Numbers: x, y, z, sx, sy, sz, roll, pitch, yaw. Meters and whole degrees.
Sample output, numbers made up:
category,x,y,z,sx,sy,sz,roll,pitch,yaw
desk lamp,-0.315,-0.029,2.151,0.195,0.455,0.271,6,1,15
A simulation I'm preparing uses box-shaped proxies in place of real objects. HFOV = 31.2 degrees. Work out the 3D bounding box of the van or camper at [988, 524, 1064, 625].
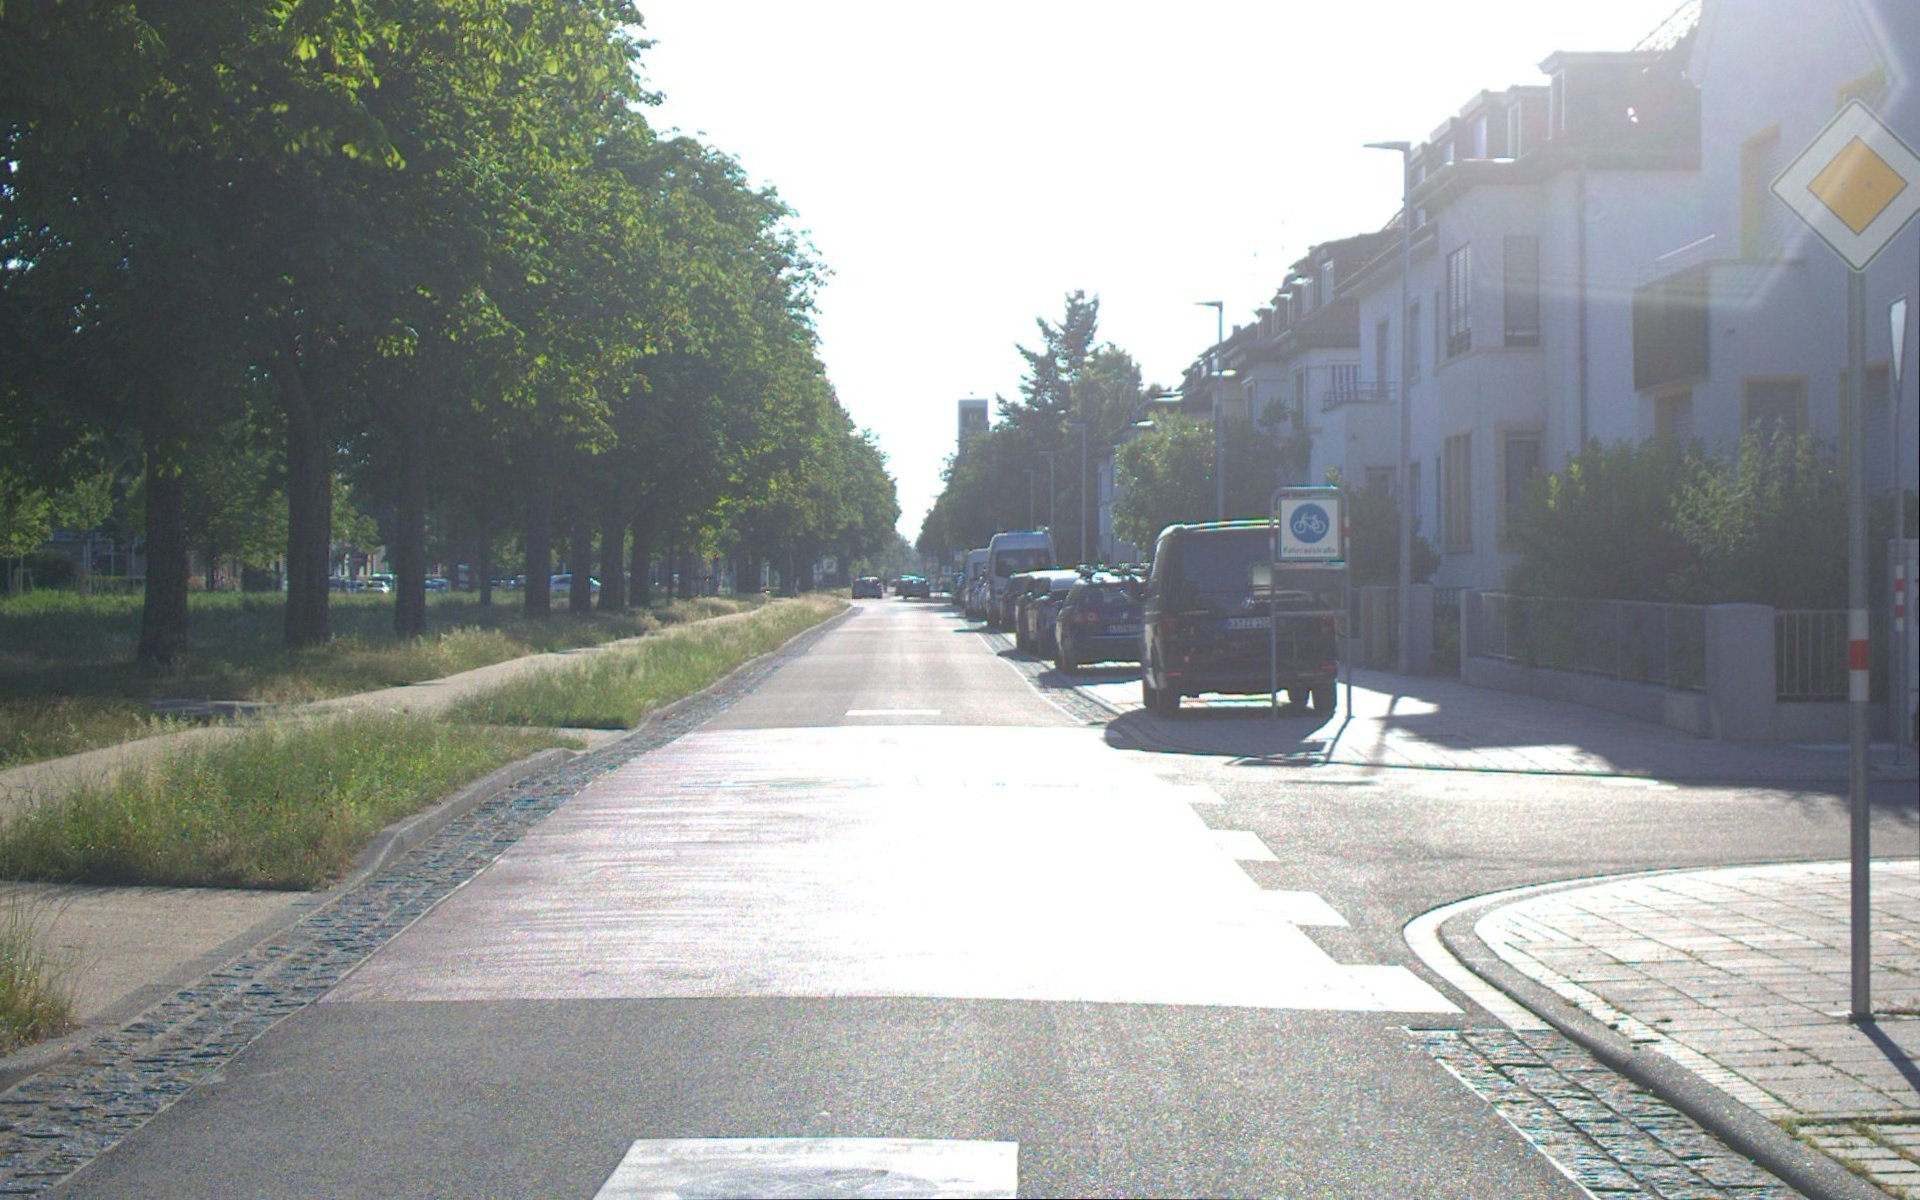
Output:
category,x,y,z,sx,sy,sz,roll,pitch,yaw
van or camper,1.853,-0.696,98.127,1.943,2.768,5.940,1,0,-1

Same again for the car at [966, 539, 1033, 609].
category,x,y,z,sx,sy,sz,roll,pitch,yaw
car,1.449,-0.974,128.462,2.126,2.524,5.189,-1,1,-3

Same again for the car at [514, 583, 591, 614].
category,x,y,z,sx,sy,sz,roll,pitch,yaw
car,-23.808,-0.087,200.883,4.345,1.758,2.000,1,0,-9

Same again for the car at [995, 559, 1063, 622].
category,x,y,z,sx,sy,sz,roll,pitch,yaw
car,1.815,-0.258,91.631,1.663,1.587,4.086,1,0,0

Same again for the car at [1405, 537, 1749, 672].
category,x,y,z,sx,sy,sz,roll,pitch,yaw
car,8.270,0.051,46.315,4.216,1.720,1.853,-1,0,-4

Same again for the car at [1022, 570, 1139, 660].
category,x,y,z,sx,sy,sz,roll,pitch,yaw
car,2.244,0.271,64.915,1.717,1.568,4.211,-2,0,-4

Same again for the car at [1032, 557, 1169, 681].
category,x,y,z,sx,sy,sz,roll,pitch,yaw
car,2.120,0.255,52.909,1.794,1.765,4.473,-2,1,-1

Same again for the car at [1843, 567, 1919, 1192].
category,x,y,z,sx,sy,sz,roll,pitch,yaw
car,3.151,0.679,6.625,1.794,1.477,4.124,-3,2,0

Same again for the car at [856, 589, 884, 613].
category,x,y,z,sx,sy,sz,roll,pitch,yaw
car,-6.106,0.043,233.265,1.863,1.591,3.870,1,0,-1

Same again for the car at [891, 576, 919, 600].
category,x,y,z,sx,sy,sz,roll,pitch,yaw
car,-3.765,-0.821,234.181,1.863,1.591,3.894,1,0,-2

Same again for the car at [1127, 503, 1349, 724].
category,x,y,z,sx,sy,sz,roll,pitch,yaw
car,2.879,0.104,36.537,1.906,2.124,4.814,-2,1,0

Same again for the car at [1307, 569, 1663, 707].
category,x,y,z,sx,sy,sz,roll,pitch,yaw
car,6.710,0.470,44.238,4.216,1.720,1.853,0,0,-4

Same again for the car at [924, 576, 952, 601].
category,x,y,z,sx,sy,sz,roll,pitch,yaw
car,-1.362,-0.712,215.975,1.650,1.525,3.851,1,0,0

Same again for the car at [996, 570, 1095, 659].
category,x,y,z,sx,sy,sz,roll,pitch,yaw
car,1.733,0.274,70.765,1.832,1.679,4.415,2,1,-1

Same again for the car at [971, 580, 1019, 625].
category,x,y,z,sx,sy,sz,roll,pitch,yaw
car,1.225,0.064,122.257,1.650,1.525,3.851,-1,1,0
